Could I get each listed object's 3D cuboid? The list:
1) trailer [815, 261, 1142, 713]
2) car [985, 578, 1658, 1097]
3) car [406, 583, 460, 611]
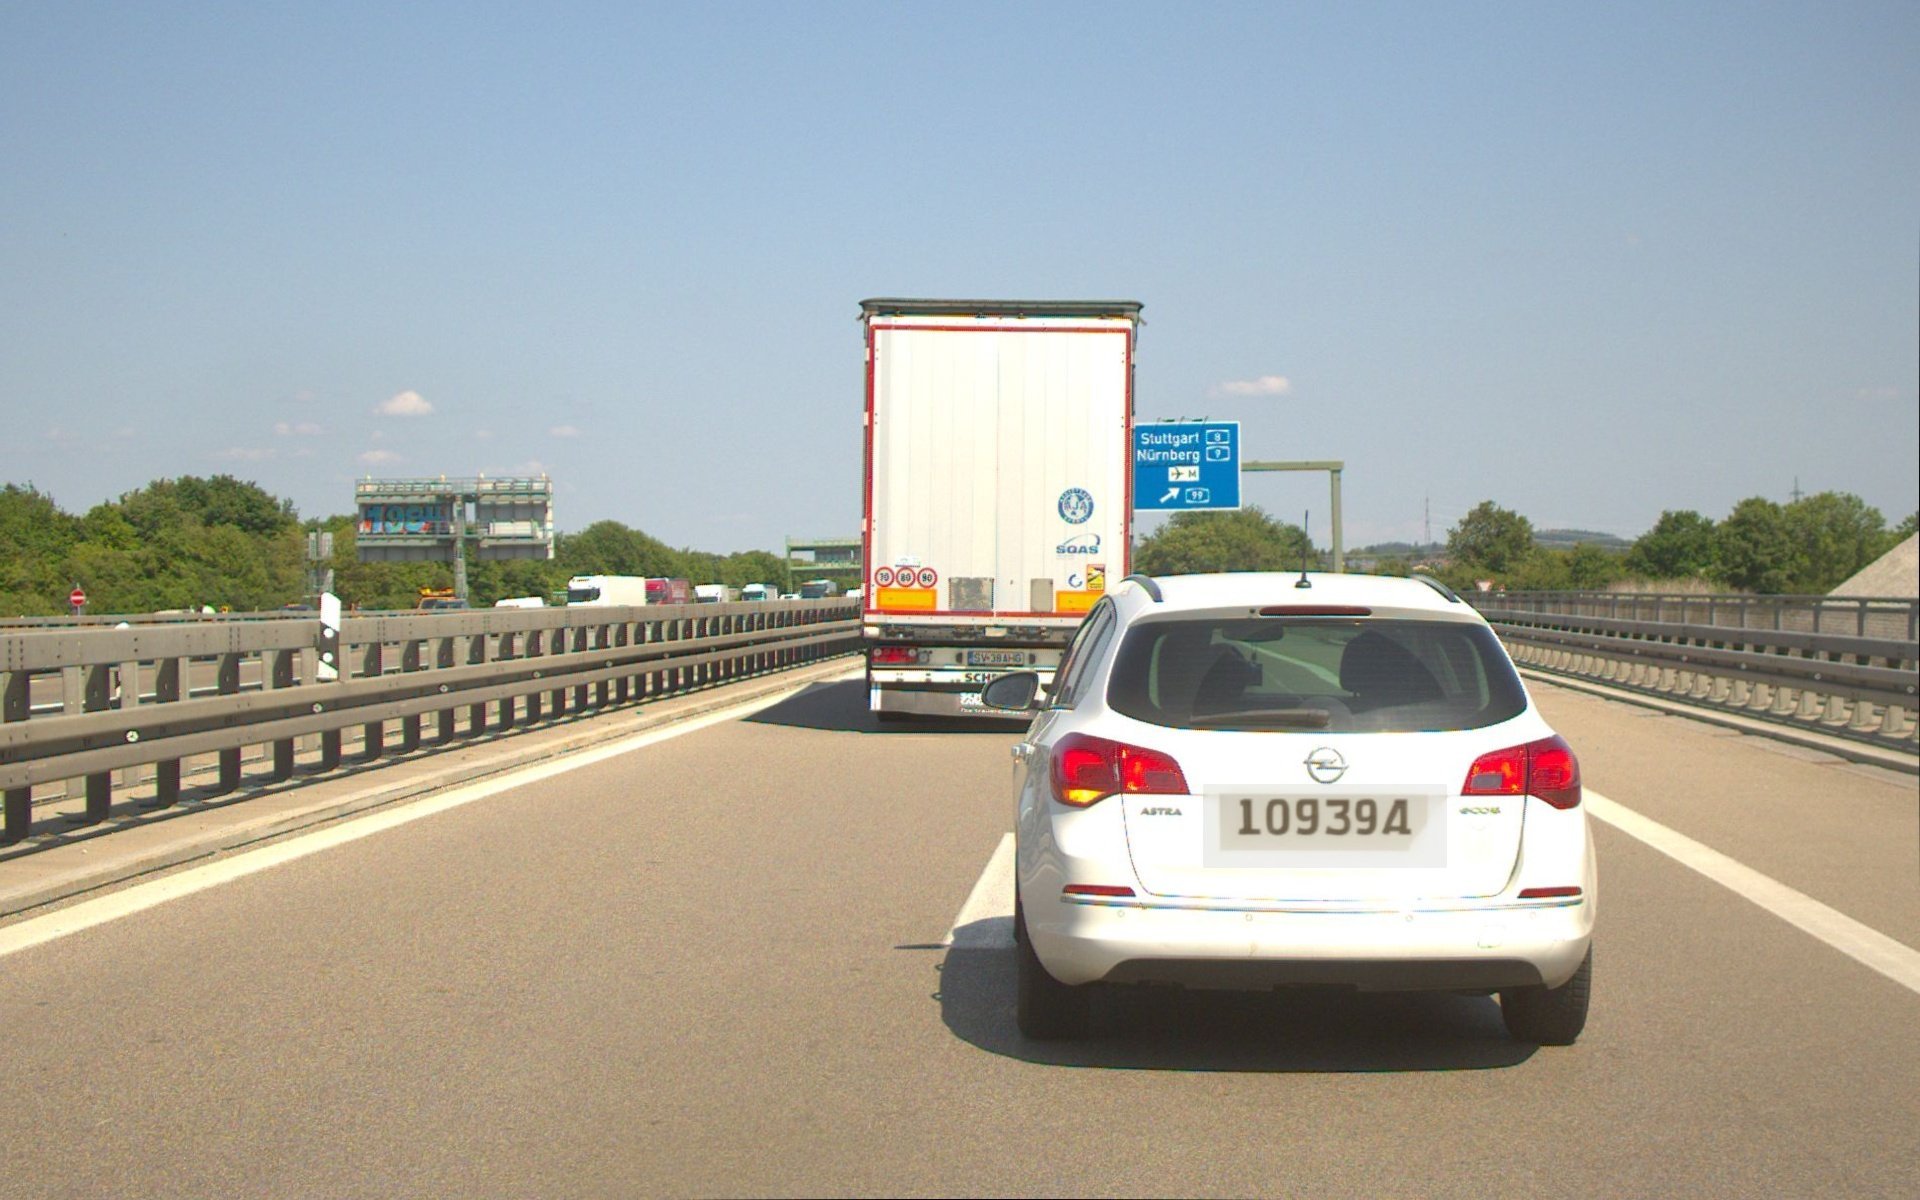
[{"bbox_3d":[0.467,-0.983,37.439,2.913,4.131,11.256,1,-1,3],"label":"trailer"},{"bbox_3d":[1.036,0.668,11.896,1.854,1.438,4.372,1,0,0],"label":"car"},{"bbox_3d":[-28.769,-0.184,187.730,1.838,1.512,5.297,0,0,3],"label":"car"}]
